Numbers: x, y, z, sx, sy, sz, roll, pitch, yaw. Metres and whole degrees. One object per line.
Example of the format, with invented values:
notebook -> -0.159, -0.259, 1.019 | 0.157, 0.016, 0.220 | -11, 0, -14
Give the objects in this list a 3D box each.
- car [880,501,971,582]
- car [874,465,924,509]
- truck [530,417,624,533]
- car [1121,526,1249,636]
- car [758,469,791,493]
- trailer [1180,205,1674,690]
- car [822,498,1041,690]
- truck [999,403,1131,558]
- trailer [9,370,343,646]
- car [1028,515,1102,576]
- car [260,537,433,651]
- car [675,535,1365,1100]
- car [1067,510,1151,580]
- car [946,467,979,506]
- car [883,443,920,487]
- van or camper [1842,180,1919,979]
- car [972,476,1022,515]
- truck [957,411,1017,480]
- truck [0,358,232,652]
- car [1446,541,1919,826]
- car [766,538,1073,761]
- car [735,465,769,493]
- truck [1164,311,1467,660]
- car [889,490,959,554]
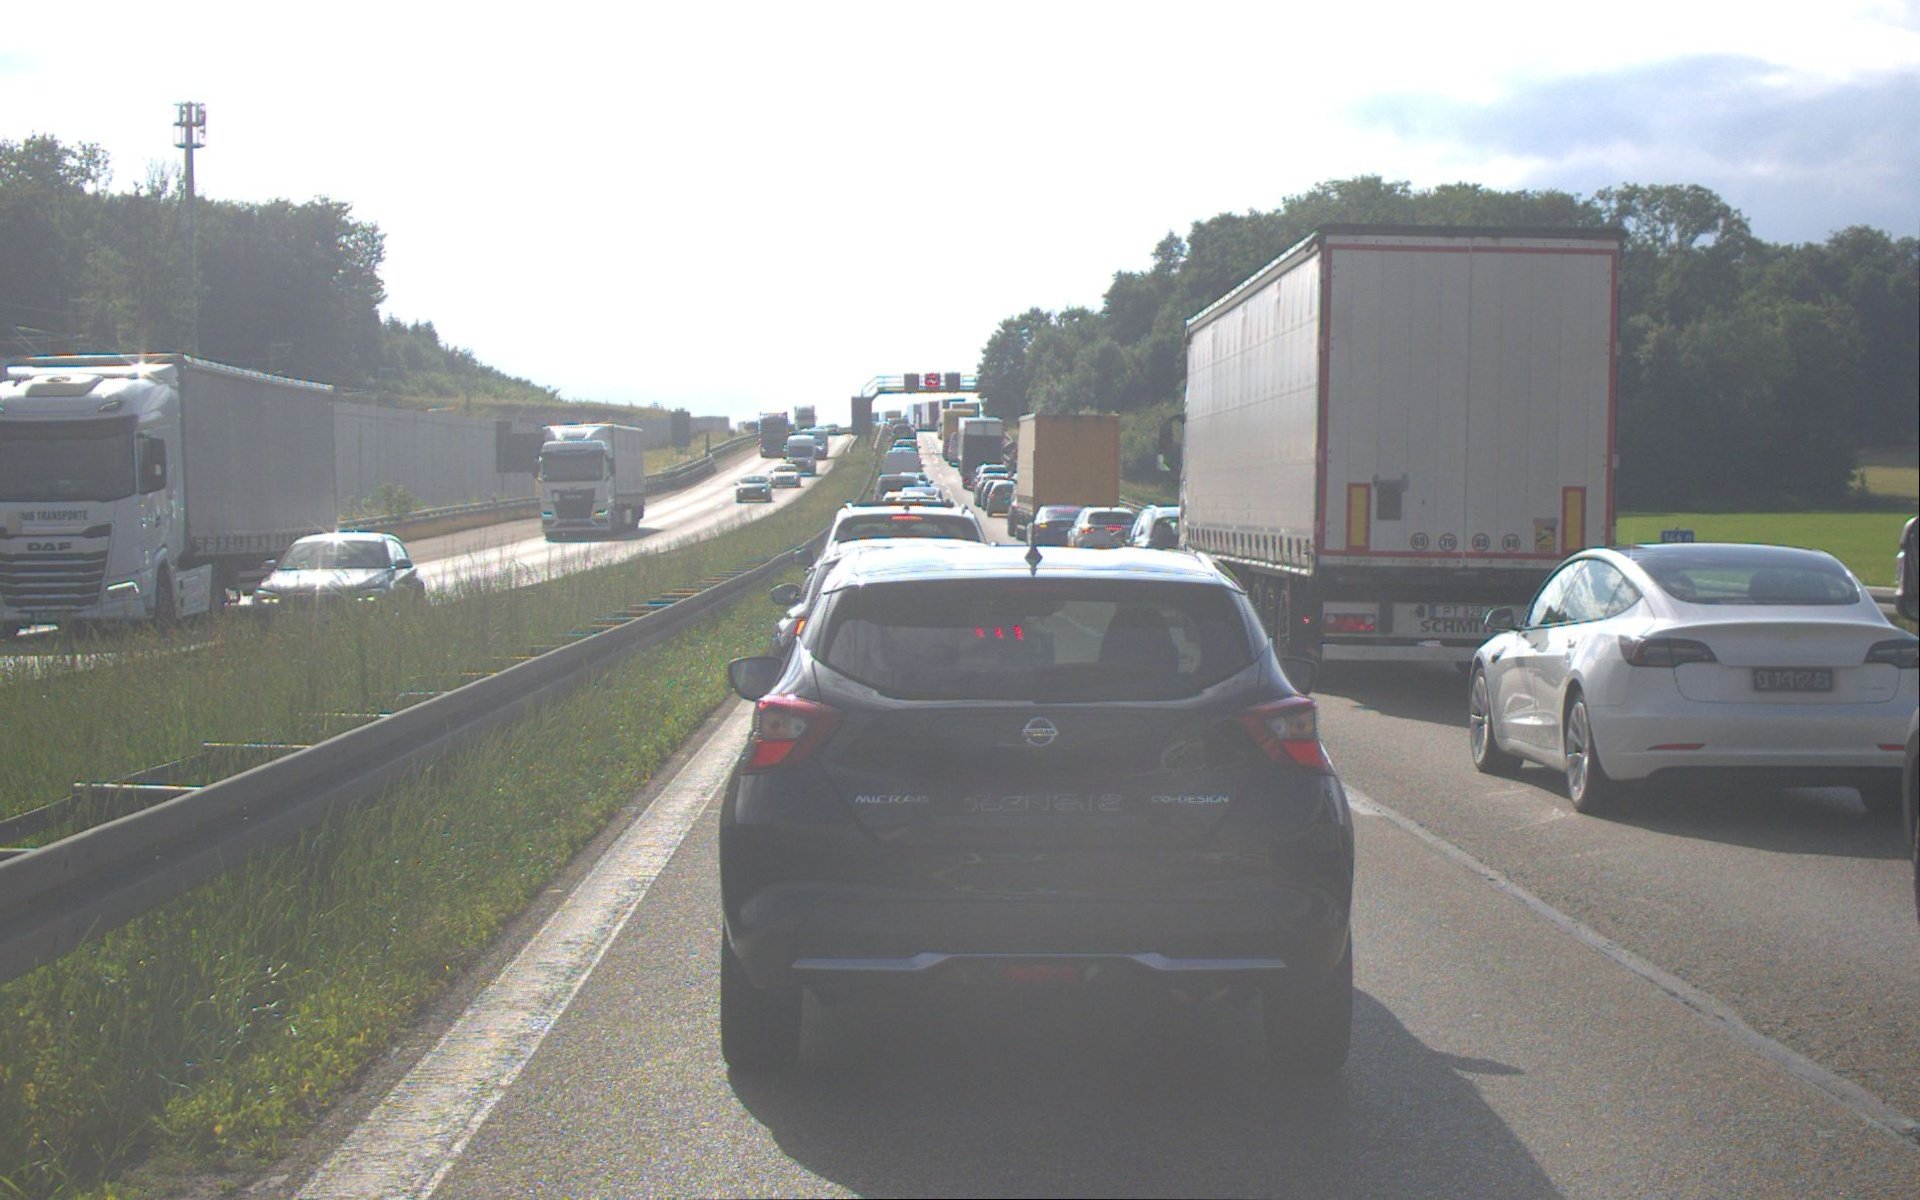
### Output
car -> -0.741, -1.284, 73.662 | 1.873, 1.638, 4.233 | 0, 2, -1
car -> -2.412, -4.444, 134.808 | 1.873, 1.638, 4.233 | 0, 3, -2
truck -> -13.987, -4.523, 125.883 | 2.776, 4.074, 5.532 | -2, 1, -1
car -> 3.415, -0.324, 52.775 | 1.697, 1.605, 4.437 | 0, 1, 0
car -> -11.569, -7.434, 214.490 | 1.873, 1.446, 4.232 | 0, 1, -1
trailer -> 4.310, -1.304, 35.258 | 3.130, 3.997, 13.367 | 1, 0, 0
car -> -0.269, -0.091, 31.506 | 1.873, 1.638, 4.232 | 0, 1, -1
truck -> 3.200, -3.643, 108.724 | 3.296, 4.561, 12.442 | 1, 1, -2
trailer -> -12.810, -1.503, 57.633 | 2.683, 4.024, 13.793 | -1, 1, -1
car -> 2.888, -1.535, 95.406 | 1.873, 1.638, 4.233 | 0, 2, -1
car -> -7.955, -0.109, 44.823 | 1.633, 1.396, 3.897 | 0, 1, -1
car -> 0.132, 0.520, 10.972 | 1.773, 1.446, 4.232 | 0, 1, -1
car -> 3.712, -1.401, 86.033 | 1.873, 1.638, 4.233 | 0, 2, -1
car -> 0.155, -6.873, 208.013 | 1.873, 2.151, 5.212 | 0, 4, -1
car -> -3.029, -7.035, 178.665 | 1.873, 2.151, 5.212 | 0, 4, -1
van or camper -> 4.360, -0.026, 9.287 | 2.215, 2.672, 6.333 | 0, 1, -1
car -> 1.621, -4.594, 151.167 | 1.873, 1.638, 4.233 | 0, 3, -4
truck -> 1.769, -10.491, 233.674 | 3.464, 4.561, 12.443 | 1, 2, -2
truck -> -12.698, -1.372, 50.736 | 2.685, 4.054, 5.880 | -1, 1, -1
car -> 4.035, 0.381, 19.525 | 1.788, 1.389, 4.437 | 0, 1, -2
car -> -0.273, 0.264, 23.120 | 1.873, 1.353, 4.232 | 0, 1, -1
car -> -11.099, -6.436, 183.413 | 1.651, 1.446, 3.957 | 0, 1, -1
truck -> 4.275, -1.345, 42.417 | 3.133, 4.002, 5.164 | 1, 0, 0
car -> -0.979, -2.146, 94.225 | 1.873, 1.638, 4.233 | 0, 3, -1
